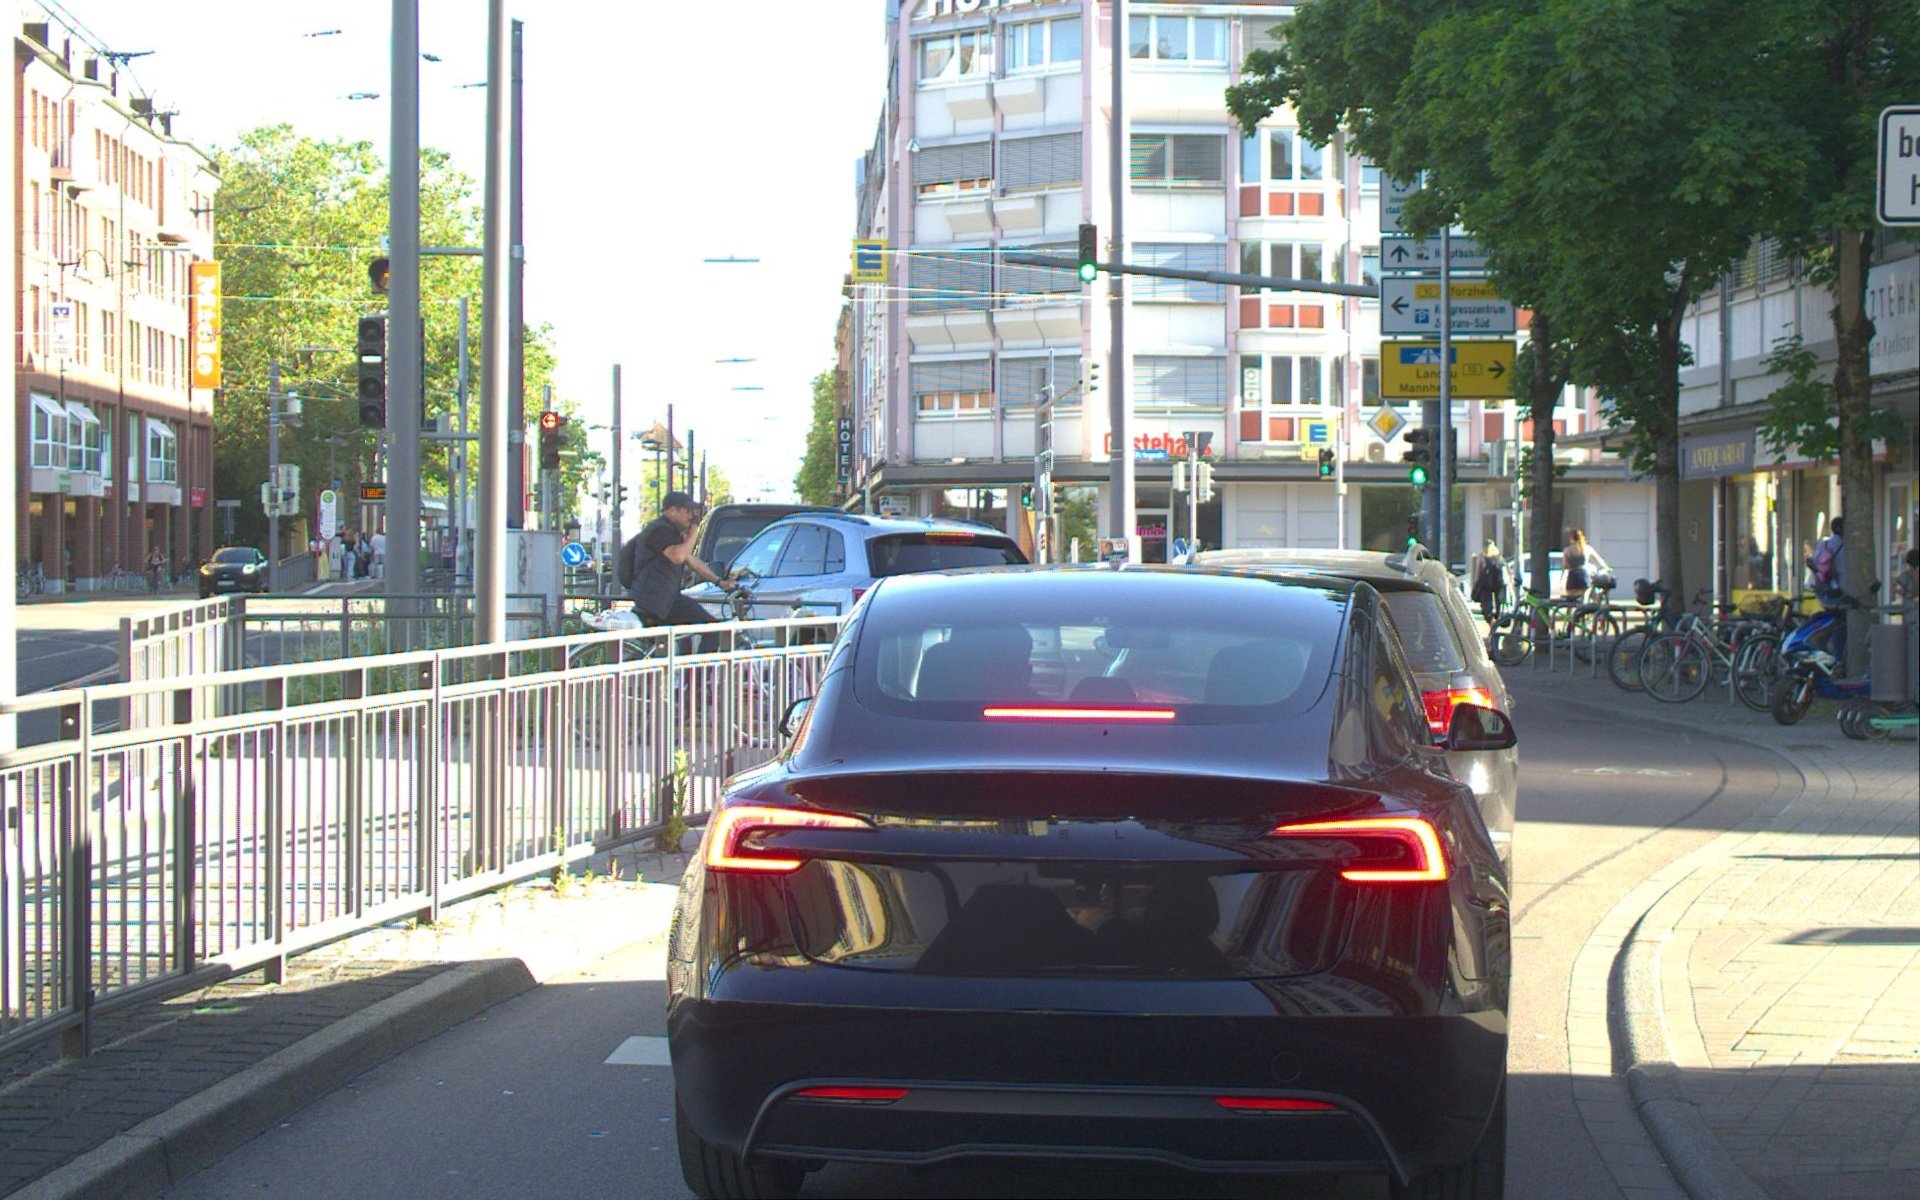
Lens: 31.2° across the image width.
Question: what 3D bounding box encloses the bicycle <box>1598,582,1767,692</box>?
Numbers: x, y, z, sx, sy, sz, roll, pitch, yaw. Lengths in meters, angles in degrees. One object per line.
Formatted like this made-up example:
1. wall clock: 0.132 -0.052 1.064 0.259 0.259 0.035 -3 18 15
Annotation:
1. bicycle: 7.422 0.379 35.359 1.650 1.095 0.350 1 0 1

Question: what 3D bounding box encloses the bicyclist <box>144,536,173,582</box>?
1. bicyclist: -27.505 -1.417 118.045 0.784 1.558 0.746 1 0 2

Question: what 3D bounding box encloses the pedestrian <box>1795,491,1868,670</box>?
1. pedestrian: 9.903 -0.226 39.091 0.662 2.007 0.579 1 0 2

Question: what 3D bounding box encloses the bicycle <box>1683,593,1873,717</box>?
1. bicycle: 7.388 0.496 31.038 1.649 1.095 0.350 1 0 -10

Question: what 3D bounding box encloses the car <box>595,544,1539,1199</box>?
1. car: 0.352 0.611 8.715 1.829 1.450 3.999 1 1 4

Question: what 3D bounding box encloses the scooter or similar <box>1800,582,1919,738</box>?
1. scooter or similar: 7.562 0.473 27.200 1.644 1.211 0.644 1 0 30

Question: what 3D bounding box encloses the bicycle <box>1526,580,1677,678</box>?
1. bicycle: 7.333 0.329 39.338 1.650 1.095 0.350 1 0 1

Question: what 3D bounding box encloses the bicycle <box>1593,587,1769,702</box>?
1. bicycle: 7.004 0.433 33.411 1.649 1.095 0.350 1 0 -10

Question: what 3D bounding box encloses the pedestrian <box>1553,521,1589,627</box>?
1. pedestrian: 9.837 -0.419 55.344 0.526 1.704 0.403 1 0 14

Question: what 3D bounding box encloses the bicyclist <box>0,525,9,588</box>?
1. bicyclist: -23.599 -1.052 83.513 0.785 1.522 0.589 1 0 4

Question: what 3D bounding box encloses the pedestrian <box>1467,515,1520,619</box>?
1. pedestrian: 8.571 -0.533 55.215 0.699 1.656 0.777 1 0 -1

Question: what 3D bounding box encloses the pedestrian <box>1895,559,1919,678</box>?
1. pedestrian: 10.870 0.208 38.990 0.389 1.339 0.513 1 0 2

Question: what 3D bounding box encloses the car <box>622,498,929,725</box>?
1. car: -1.824 0.077 32.636 1.993 2.007 4.001 0 1 -17

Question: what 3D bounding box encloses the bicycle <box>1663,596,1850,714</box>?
1. bicycle: 7.290 0.504 31.460 1.649 1.057 0.350 1 0 -10

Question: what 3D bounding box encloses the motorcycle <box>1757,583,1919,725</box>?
1. motorcycle: 7.717 0.462 29.275 1.707 1.169 0.541 1 0 -2

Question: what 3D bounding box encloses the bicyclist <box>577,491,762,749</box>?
1. bicyclist: -1.883 0.121 22.242 0.758 1.623 0.978 0 1 -39

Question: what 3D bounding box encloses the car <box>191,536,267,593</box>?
1. car: -22.445 -1.091 105.603 1.697 1.725 3.707 1 1 -3

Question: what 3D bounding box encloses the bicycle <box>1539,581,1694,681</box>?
1. bicycle: 7.313 0.343 38.311 1.650 1.095 0.350 1 0 1

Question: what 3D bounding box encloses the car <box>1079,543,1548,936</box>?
1. car: 1.539 0.493 15.029 1.751 1.449 3.999 1 1 6

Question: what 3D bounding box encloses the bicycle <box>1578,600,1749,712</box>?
1. bicycle: 7.038 0.561 34.376 1.649 1.095 0.350 1 0 -10

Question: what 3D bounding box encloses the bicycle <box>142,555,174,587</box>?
1. bicycle: -27.512 -0.989 117.927 0.529 1.085 2.224 1 1 1

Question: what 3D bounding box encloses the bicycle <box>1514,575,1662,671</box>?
1. bicycle: 7.366 0.269 40.351 1.650 1.095 0.350 1 0 1

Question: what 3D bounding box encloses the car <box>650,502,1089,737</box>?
1. car: -0.794 0.115 26.537 1.883 1.656 4.159 1 1 -25

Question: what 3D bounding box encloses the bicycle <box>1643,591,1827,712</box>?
1. bicycle: 7.185 0.477 31.883 1.649 1.095 0.350 1 0 -10

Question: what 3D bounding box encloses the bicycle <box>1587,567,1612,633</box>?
1. bicycle: 10.200 -0.001 54.835 0.332 1.030 1.256 1 0 9

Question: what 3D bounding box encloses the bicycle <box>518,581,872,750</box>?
1. bicycle: -1.705 0.412 22.441 2.329 1.050 0.631 0 1 -38

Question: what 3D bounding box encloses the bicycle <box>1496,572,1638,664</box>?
1. bicycle: 7.302 0.212 41.397 1.650 1.095 0.350 0 1 1

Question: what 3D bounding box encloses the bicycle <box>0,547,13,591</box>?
1. bicycle: -23.604 -0.759 83.472 0.459 1.089 2.201 1 1 4

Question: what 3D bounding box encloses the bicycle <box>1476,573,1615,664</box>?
1. bicycle: 7.235 0.221 42.491 1.650 1.095 0.350 1 0 1
